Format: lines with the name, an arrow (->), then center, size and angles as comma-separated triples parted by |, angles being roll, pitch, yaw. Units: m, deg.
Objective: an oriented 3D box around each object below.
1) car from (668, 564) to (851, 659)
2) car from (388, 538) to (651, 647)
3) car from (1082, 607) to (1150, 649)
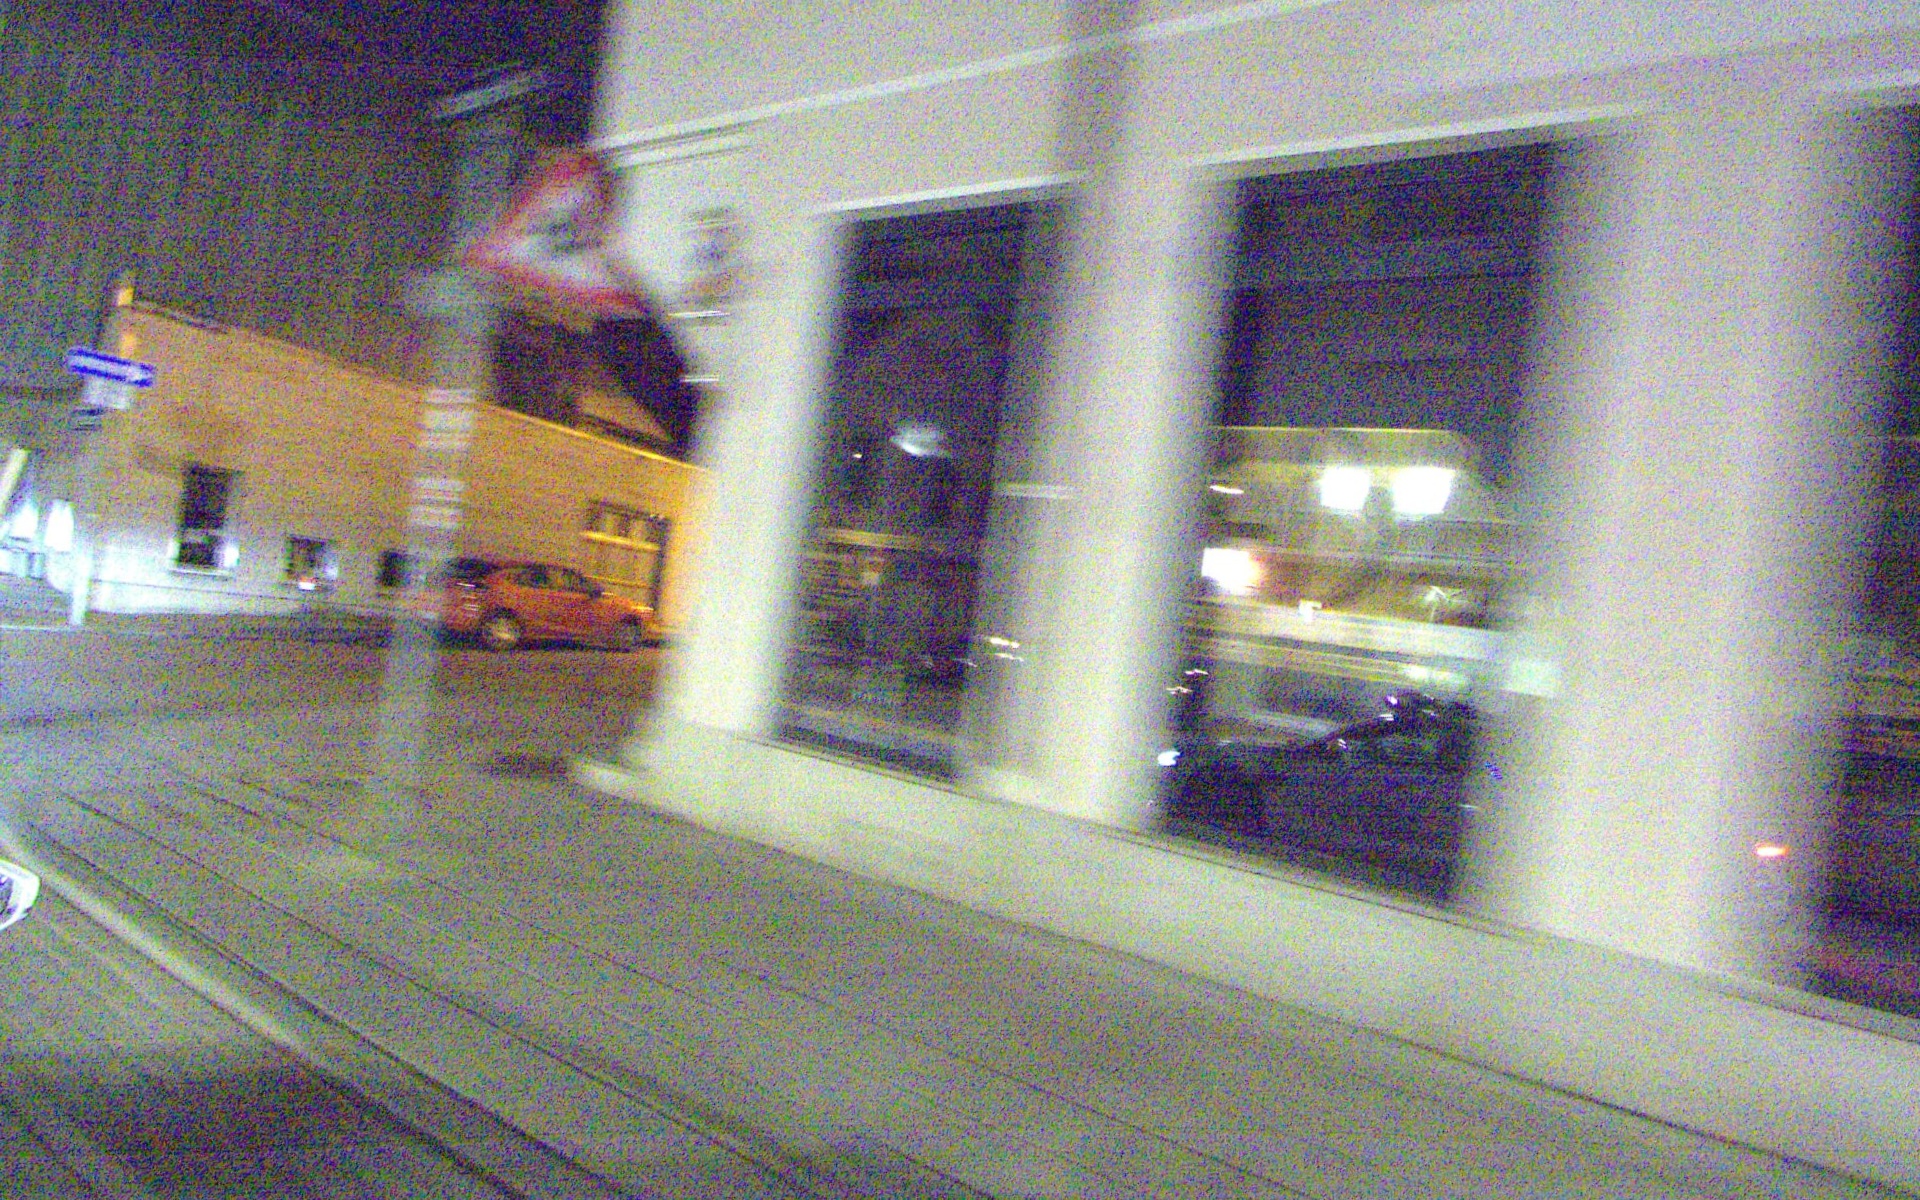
car -> -4.288, 0.315, 22.063 | 1.634, 1.606, 3.859 | 7, -1, 31
car -> -7.164, -0.064, 16.691 | 1.697, 1.460, 3.617 | 6, 0, 30
car -> 6.251, 1.132, 39.967 | 1.539, 1.519, 3.263 | 2, -2, 30
